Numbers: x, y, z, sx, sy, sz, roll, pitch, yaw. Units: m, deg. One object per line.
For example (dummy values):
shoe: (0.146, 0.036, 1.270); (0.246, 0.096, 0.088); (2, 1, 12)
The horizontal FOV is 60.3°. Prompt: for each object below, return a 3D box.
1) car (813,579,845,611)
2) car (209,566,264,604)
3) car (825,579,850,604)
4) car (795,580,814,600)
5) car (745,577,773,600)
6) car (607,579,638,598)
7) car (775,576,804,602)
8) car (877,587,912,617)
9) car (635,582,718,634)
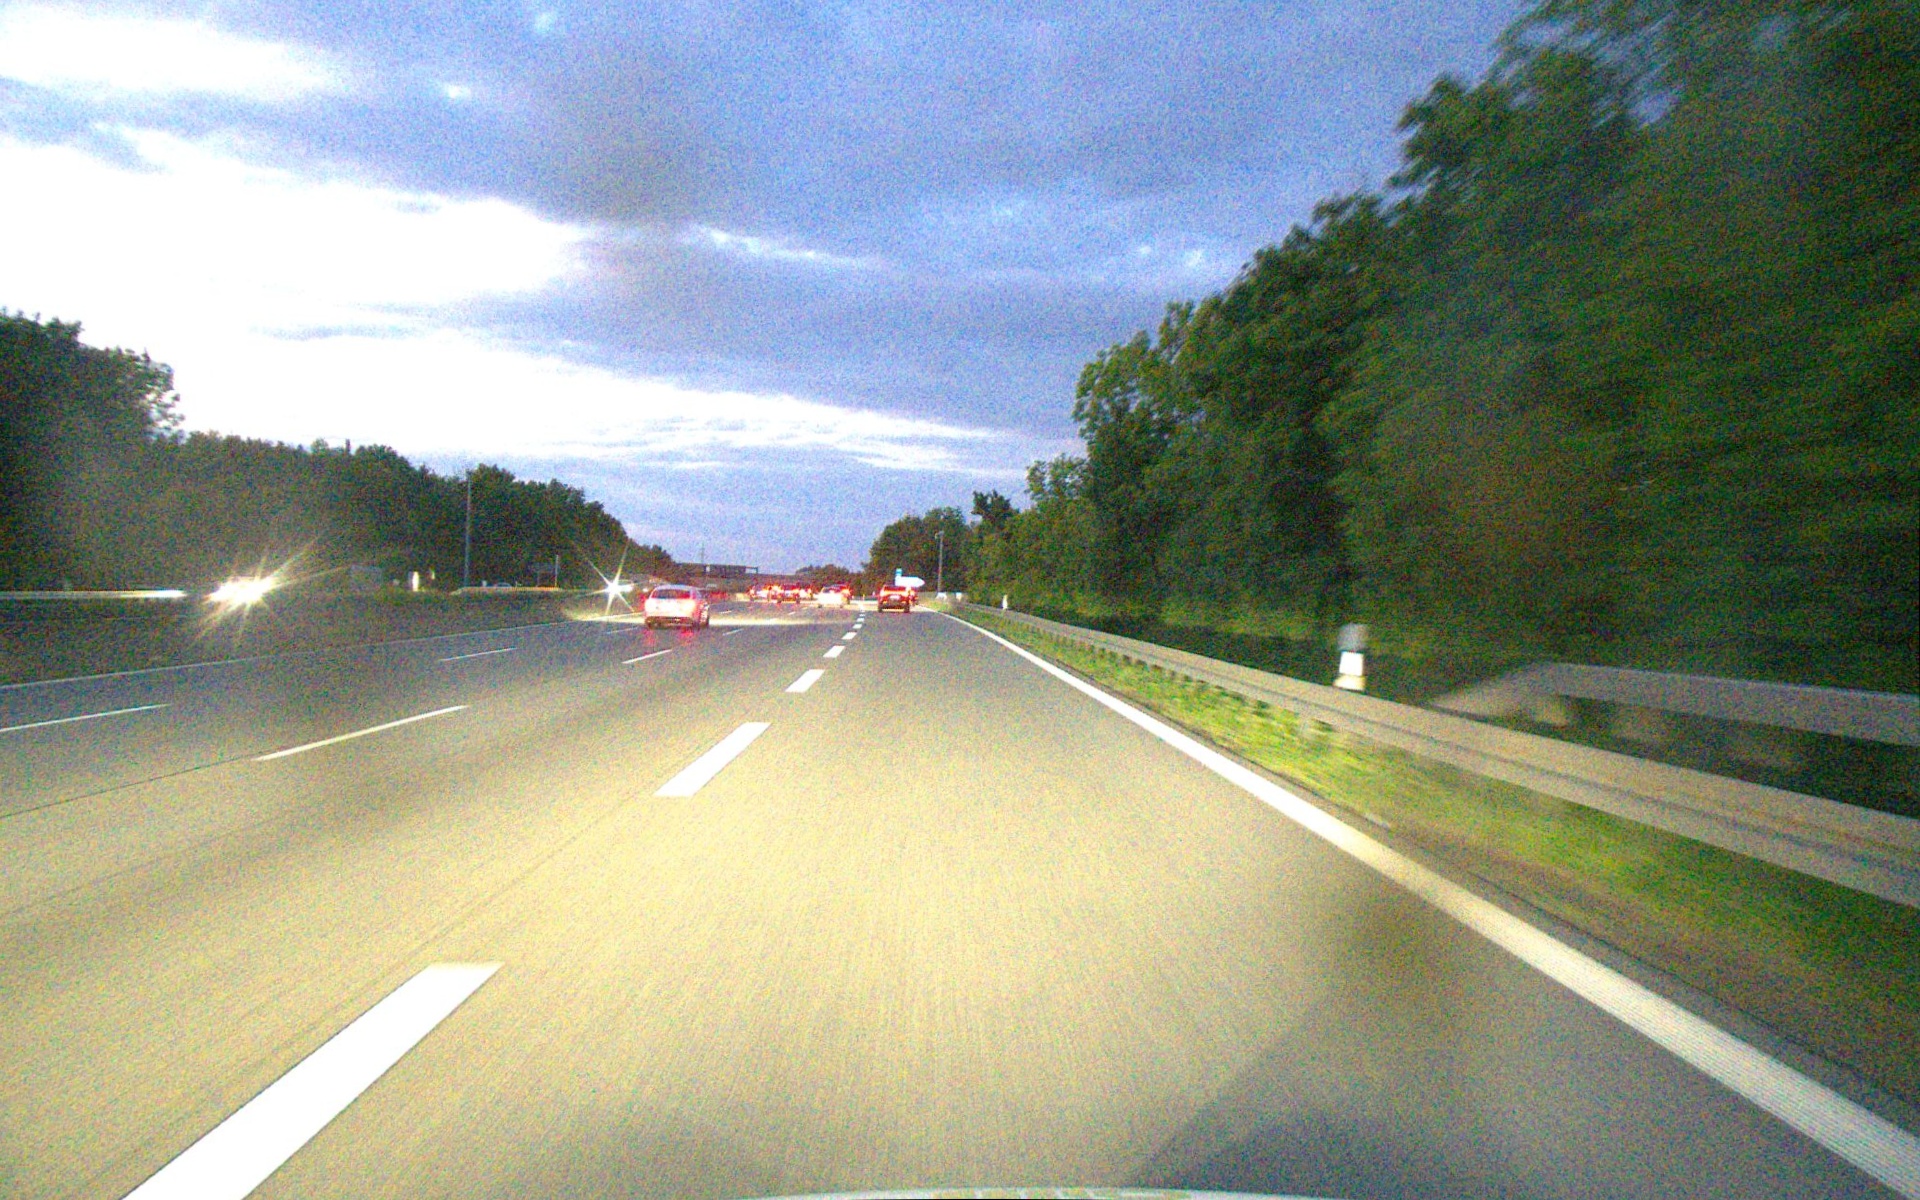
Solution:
car: (-8.799, -0.347, 111.473); (1.954, 2.049, 3.998); (1, 0, -3)
car: (-40.131, -0.821, 91.644); (1.976, 2.049, 4.952); (1, 0, -33)
car: (-10.292, -0.693, 139.185); (1.953, 2.049, 3.999); (1, 0, -2)
car: (-16.703, -1.049, 177.959); (1.955, 2.049, 3.995); (1, 0, -6)
car: (-18.476, -1.050, 152.234); (2.061, 2.049, 4.001); (0, 0, 1)
car: (-30.388, -1.047, 149.009); (1.954, 1.693, 5.008); (1, 0, -3)
car: (-13.933, -0.881, 135.556); (2.029, 2.049, 3.999); (1, 0, -2)
car: (-3.871, 0.082, 97.289); (1.954, 1.688, 4.312); (1, 0, -3)
car: (-9.590, 0.243, 56.287); (1.952, 1.671, 4.555); (0, 0, 1)
